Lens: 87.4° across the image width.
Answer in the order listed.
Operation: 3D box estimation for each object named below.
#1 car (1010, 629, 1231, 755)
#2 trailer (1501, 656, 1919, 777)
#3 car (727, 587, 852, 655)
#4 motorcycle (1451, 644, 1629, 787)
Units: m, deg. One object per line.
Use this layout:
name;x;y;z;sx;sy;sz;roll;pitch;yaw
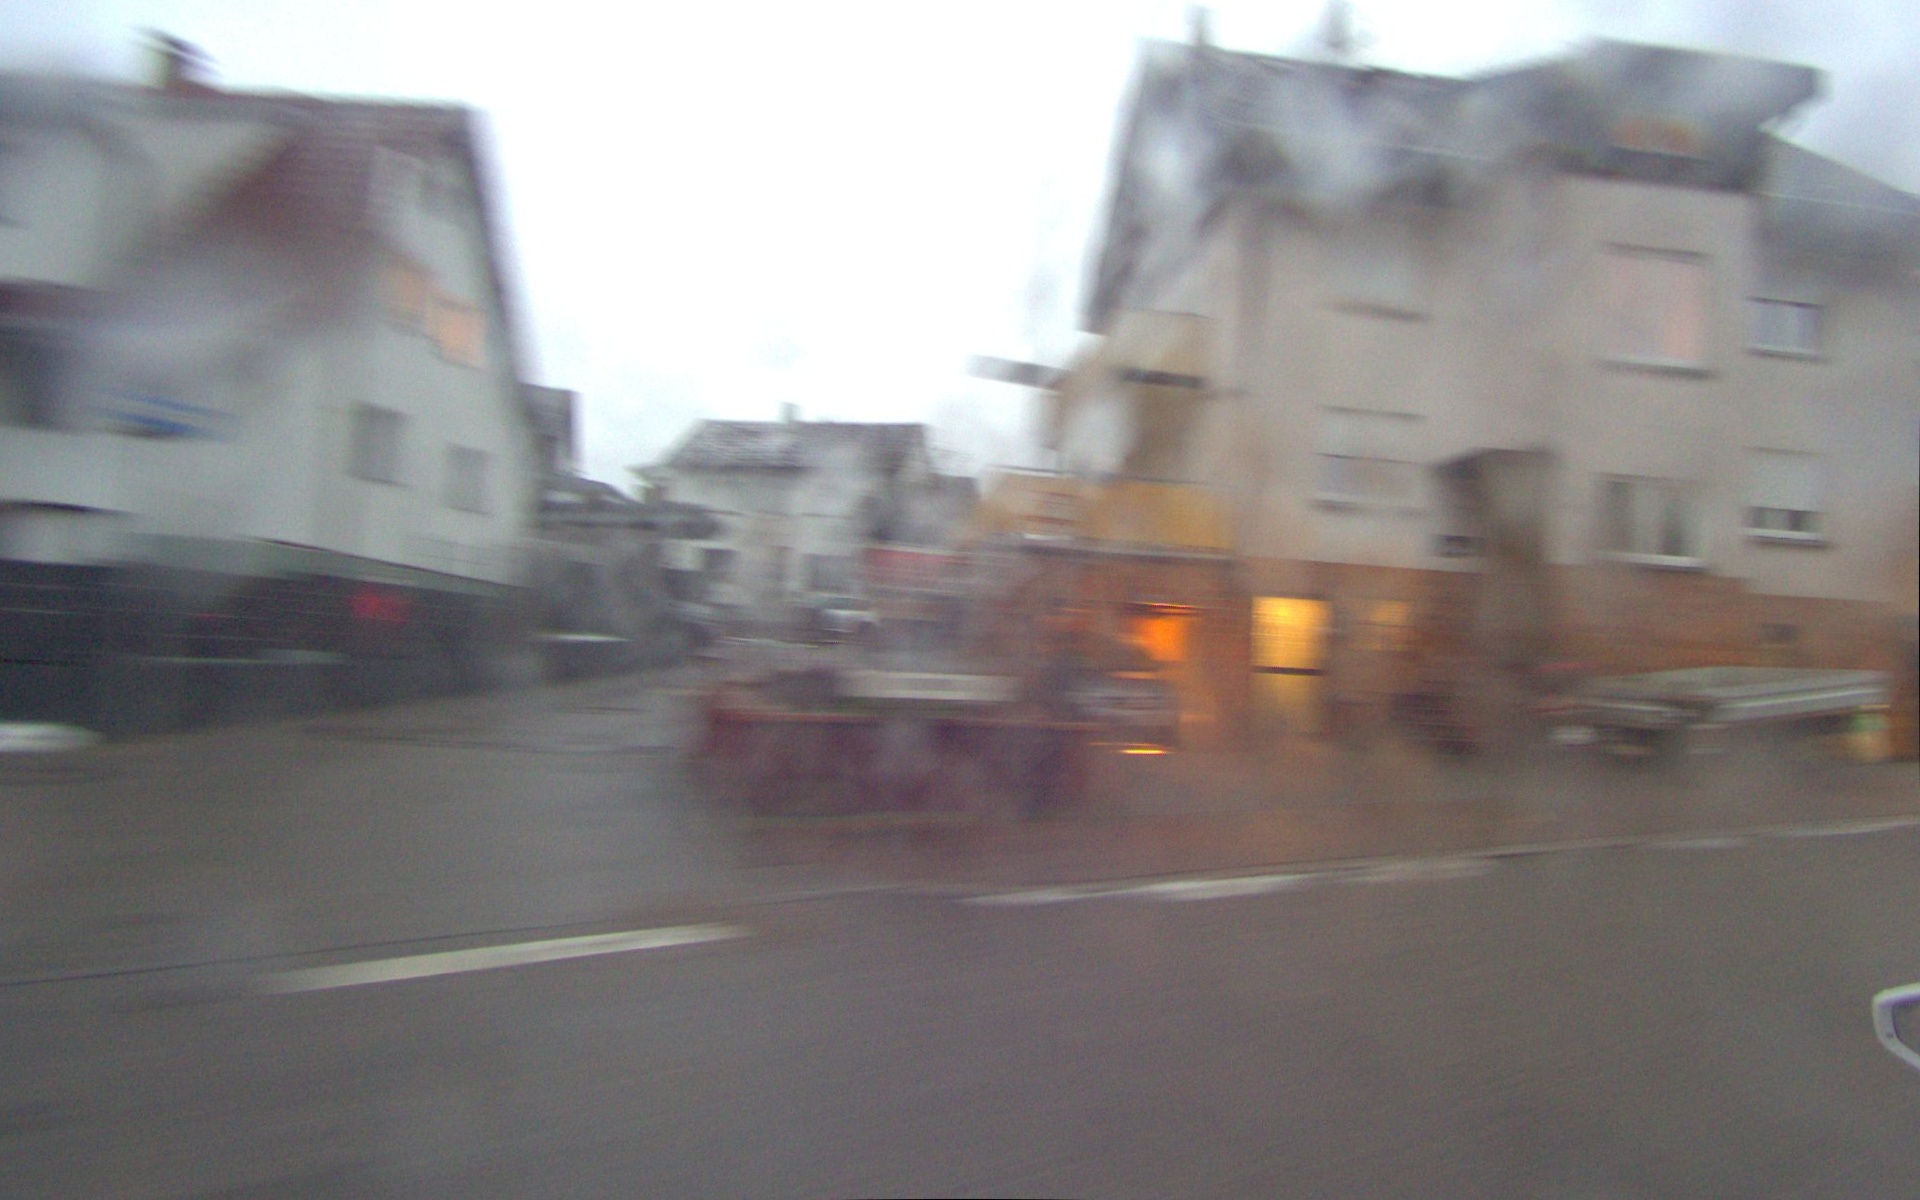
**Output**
car;2.035;1.165;13.969;1.882;1.435;3.994;2;-1;-9
trailer;9.237;1.333;12.105;4.791;1.184;2.057;2;-2;-18
car;-5.744;0.725;34.259;3.923;2.040;1.999;3;-1;-3
motorcycle;6.225;1.173;10.960;1.035;1.316;2.240;1;-1;13
